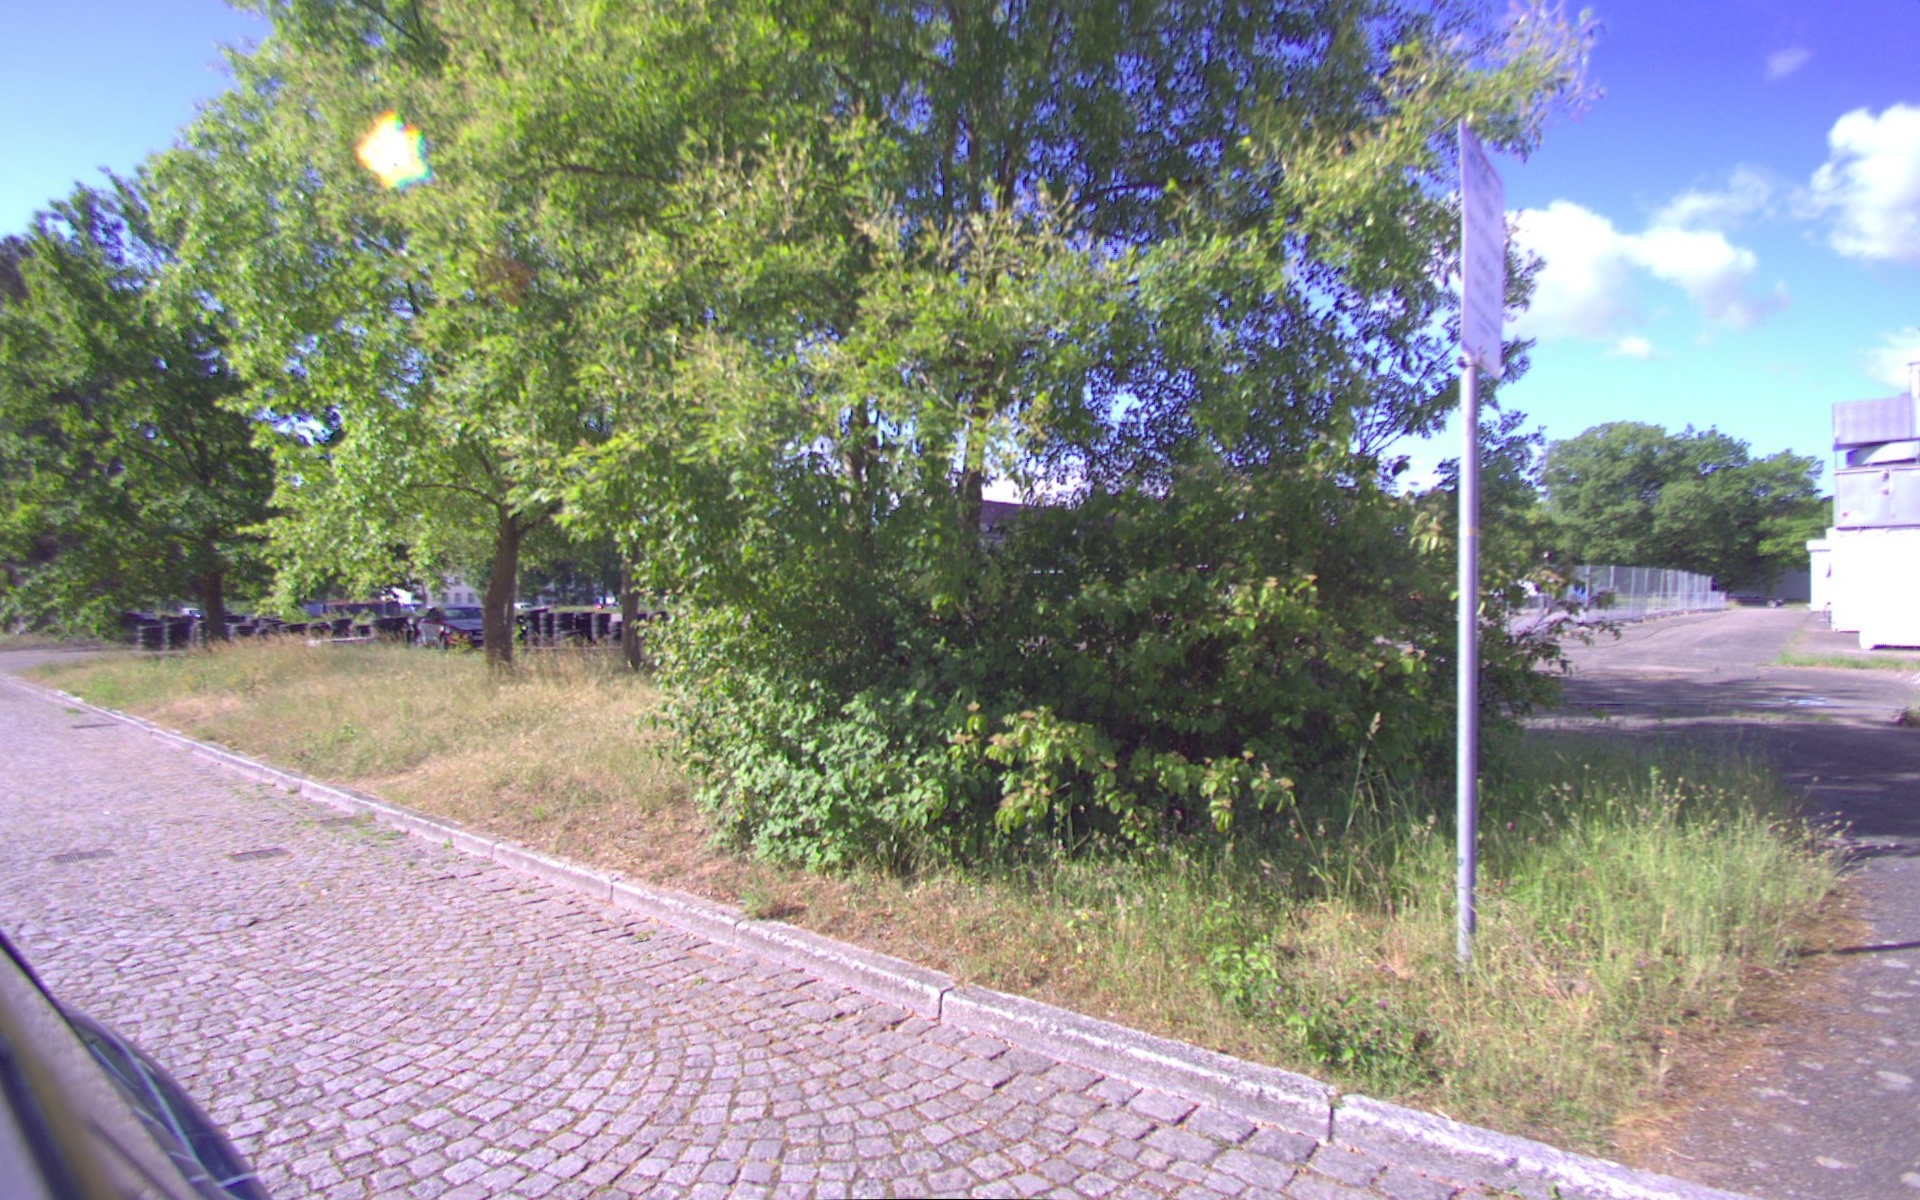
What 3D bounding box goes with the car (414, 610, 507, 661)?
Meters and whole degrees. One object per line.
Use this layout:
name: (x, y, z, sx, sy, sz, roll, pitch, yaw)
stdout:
car: (-14.885, 1.030, 30.101, 1.522, 1.417, 3.581, 0, -1, -43)
